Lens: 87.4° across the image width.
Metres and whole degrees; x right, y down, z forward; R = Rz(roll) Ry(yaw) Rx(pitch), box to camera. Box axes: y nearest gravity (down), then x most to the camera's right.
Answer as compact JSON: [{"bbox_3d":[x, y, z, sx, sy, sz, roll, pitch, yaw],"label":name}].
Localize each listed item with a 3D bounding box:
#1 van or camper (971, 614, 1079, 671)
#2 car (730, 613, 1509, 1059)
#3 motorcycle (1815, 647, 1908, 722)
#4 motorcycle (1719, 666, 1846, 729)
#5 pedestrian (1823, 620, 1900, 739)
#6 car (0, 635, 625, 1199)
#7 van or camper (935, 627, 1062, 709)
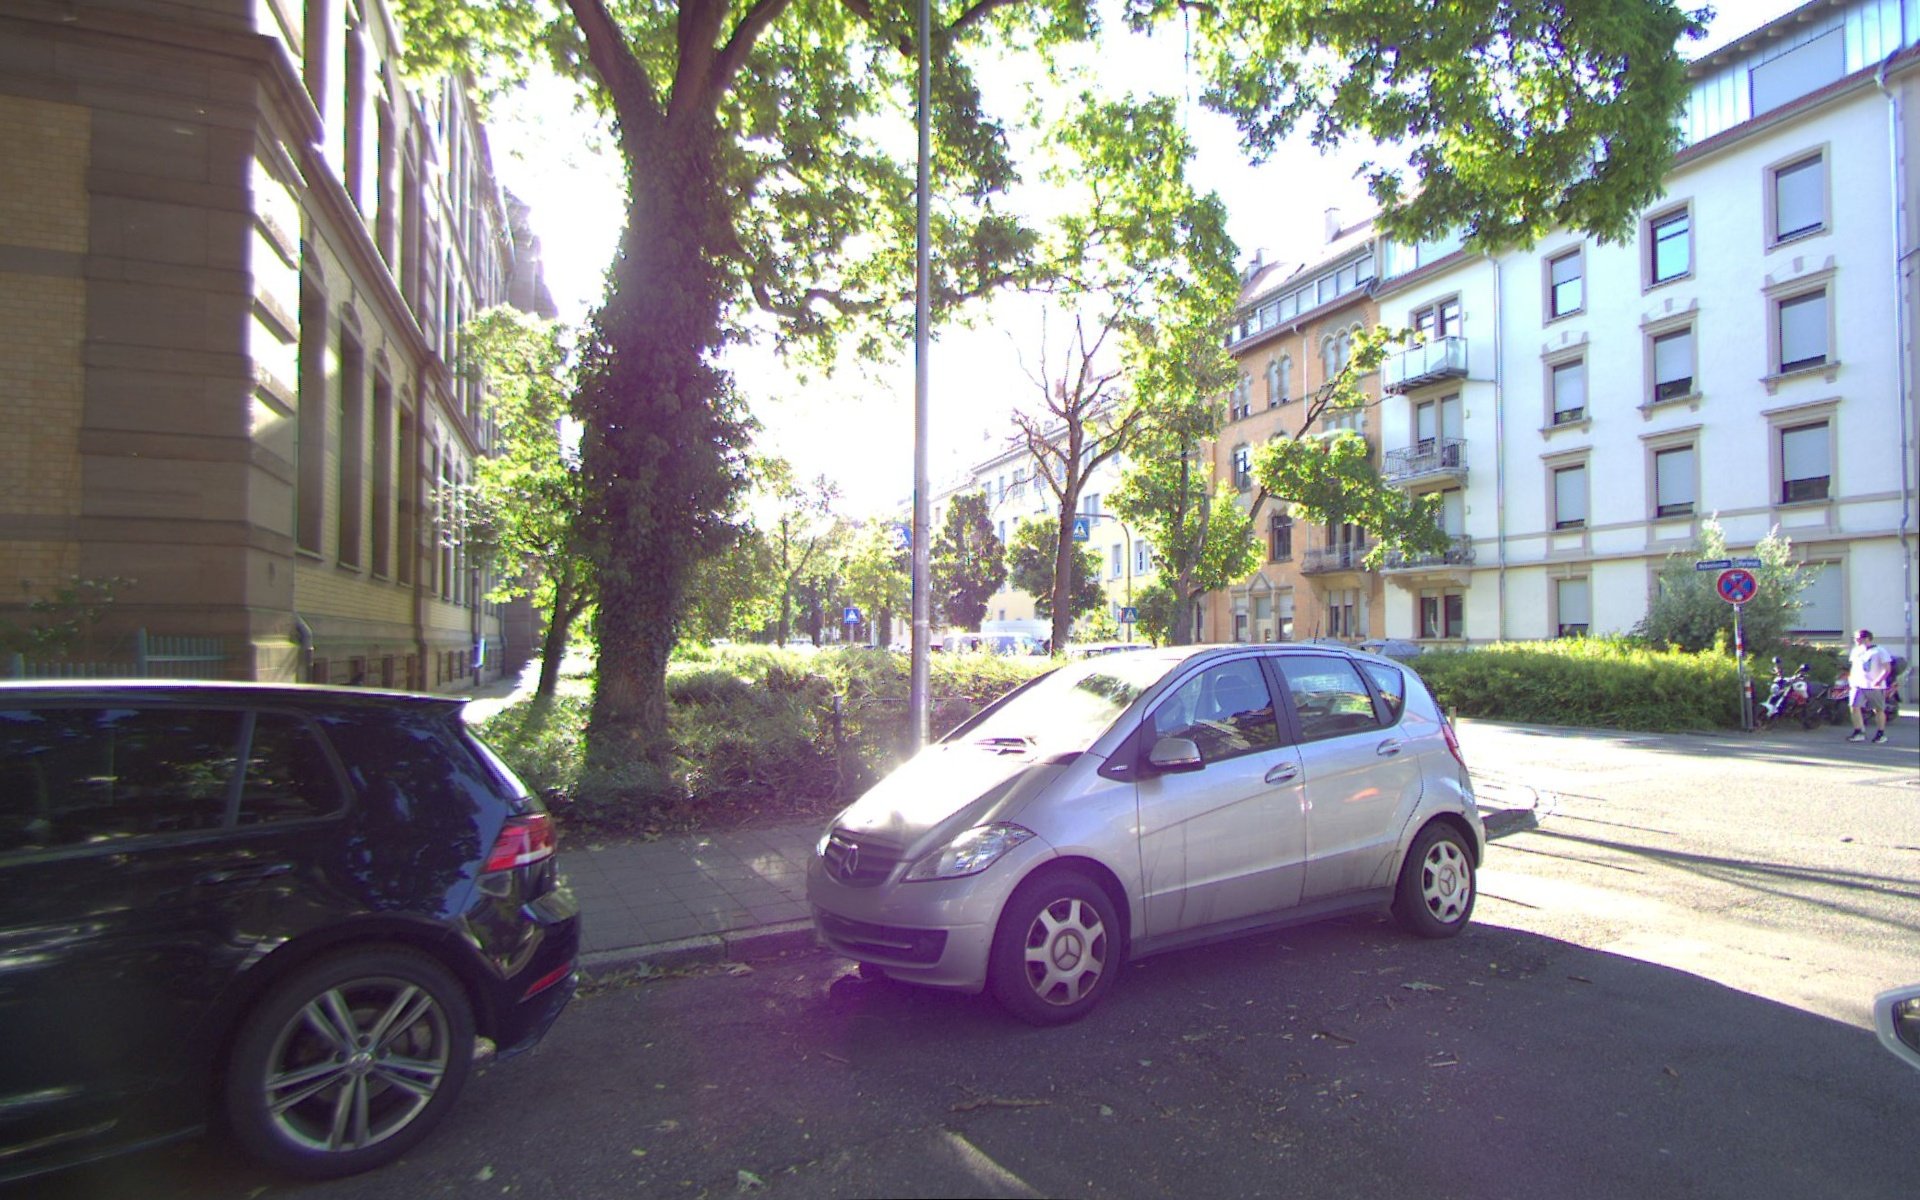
[{"bbox_3d":[3.162,2.056,48.695,4.852,2.671,1.989,1,-2,-23],"label":"van or camper"},{"bbox_3d":[0.928,0.951,5.326,3.874,1.570,1.689,1,-6,-31],"label":"car"},{"bbox_3d":[16.528,1.531,18.423,1.585,1.311,0.518,1,-1,-16],"label":"motorcycle"},{"bbox_3d":[14.352,1.695,17.546,1.788,0.999,0.690,0,2,-10],"label":"motorcycle"},{"bbox_3d":[14.609,1.265,16.288,0.617,1.863,0.722,1,-1,-19],"label":"pedestrian"},{"bbox_3d":[-3.397,0.902,2.736,4.421,1.493,1.735,2,-7,-36],"label":"car"},{"bbox_3d":[0.940,1.782,27.330,1.747,2.040,4.366,1,-3,-23],"label":"van or camper"}]
